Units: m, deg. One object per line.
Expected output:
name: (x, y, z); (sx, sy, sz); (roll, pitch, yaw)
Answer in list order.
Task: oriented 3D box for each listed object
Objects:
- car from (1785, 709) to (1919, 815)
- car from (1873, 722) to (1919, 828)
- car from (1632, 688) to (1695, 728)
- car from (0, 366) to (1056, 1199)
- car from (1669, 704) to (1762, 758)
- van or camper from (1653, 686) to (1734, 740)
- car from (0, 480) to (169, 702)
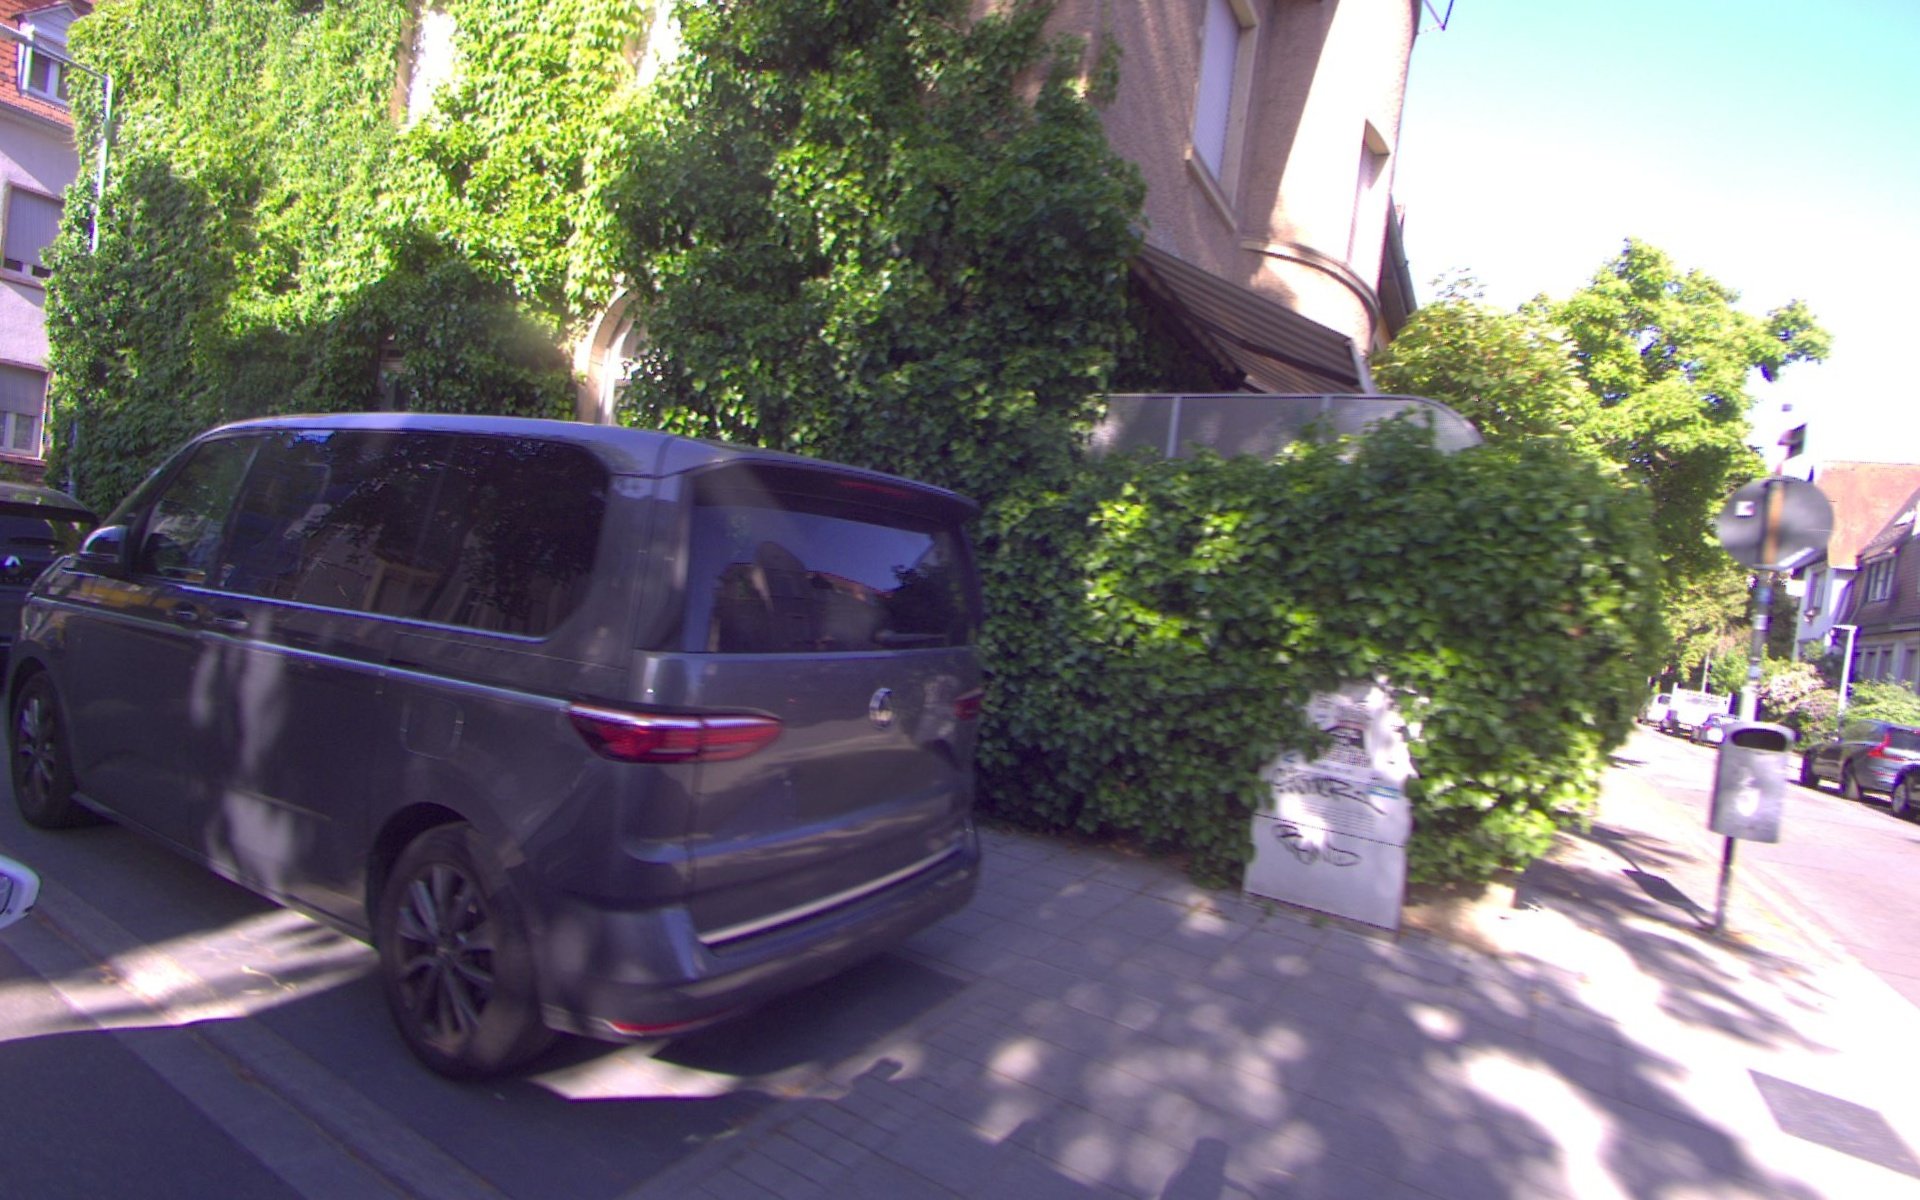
car: (18.486, 3.249, 20.200); (1.768, 1.622, 3.997); (11, 1, 24)
car: (16.180, 2.976, 15.492); (1.768, 1.622, 3.997); (11, 1, 24)
car: (34.196, 5.239, 49.015); (1.815, 1.636, 3.999); (6, -2, 27)
car: (-2.236, 0.236, 4.295); (4.769, 1.933, 1.854); (7, 1, 31)
car: (27.108, 4.661, 36.213); (1.633, 1.393, 3.997); (11, 1, 24)
van or camper: (30.702, 4.722, 42.217); (1.965, 1.861, 3.999); (6, -2, 27)
car: (-7.926, -0.253, 7.667); (3.941, 1.440, 1.638); (7, 1, 31)
